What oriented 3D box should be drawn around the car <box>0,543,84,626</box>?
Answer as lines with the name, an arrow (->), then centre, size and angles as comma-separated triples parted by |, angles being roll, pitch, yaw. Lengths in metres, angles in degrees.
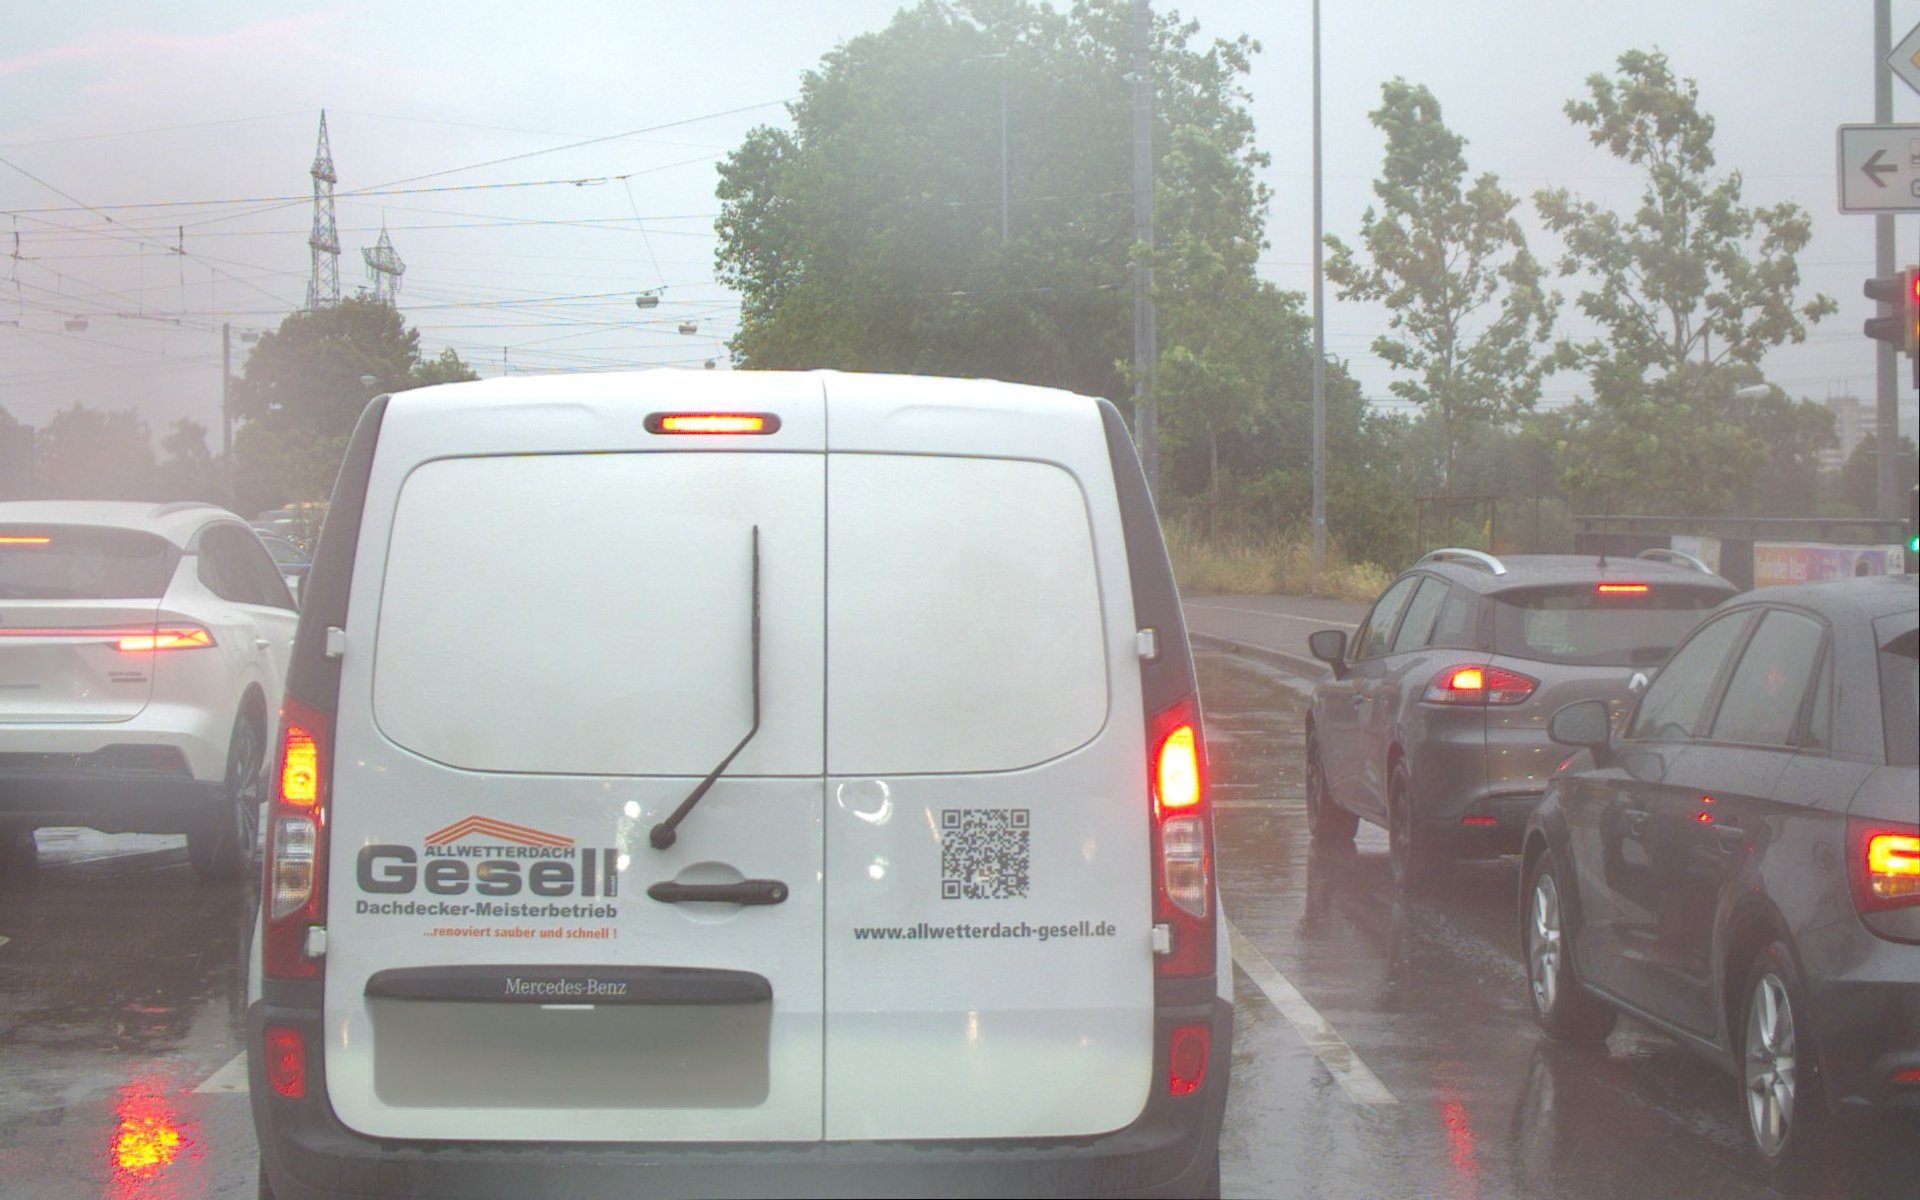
car -> -21.328, -0.363, 77.434 | 1.929, 1.820, 3.999 | 1, 1, 4

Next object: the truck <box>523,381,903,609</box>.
truck -> -3.159, -1.338, 46.253 | 2.635, 2.806, 7.139 | 1, 1, 18

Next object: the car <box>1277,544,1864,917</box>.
car -> 2.605, 0.491, 15.571 | 1.859, 1.424, 3.808 | 1, 1, -2

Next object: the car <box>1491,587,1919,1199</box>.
car -> 2.530, 0.662, 8.928 | 1.629, 1.340, 3.624 | 1, 1, -2

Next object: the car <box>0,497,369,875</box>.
car -> -3.956, 0.293, 16.141 | 1.728, 1.530, 4.298 | 1, 1, -2

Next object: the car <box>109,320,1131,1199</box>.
car -> -0.546, 0.440, 7.296 | 1.566, 1.782, 4.000 | 0, 1, -1
